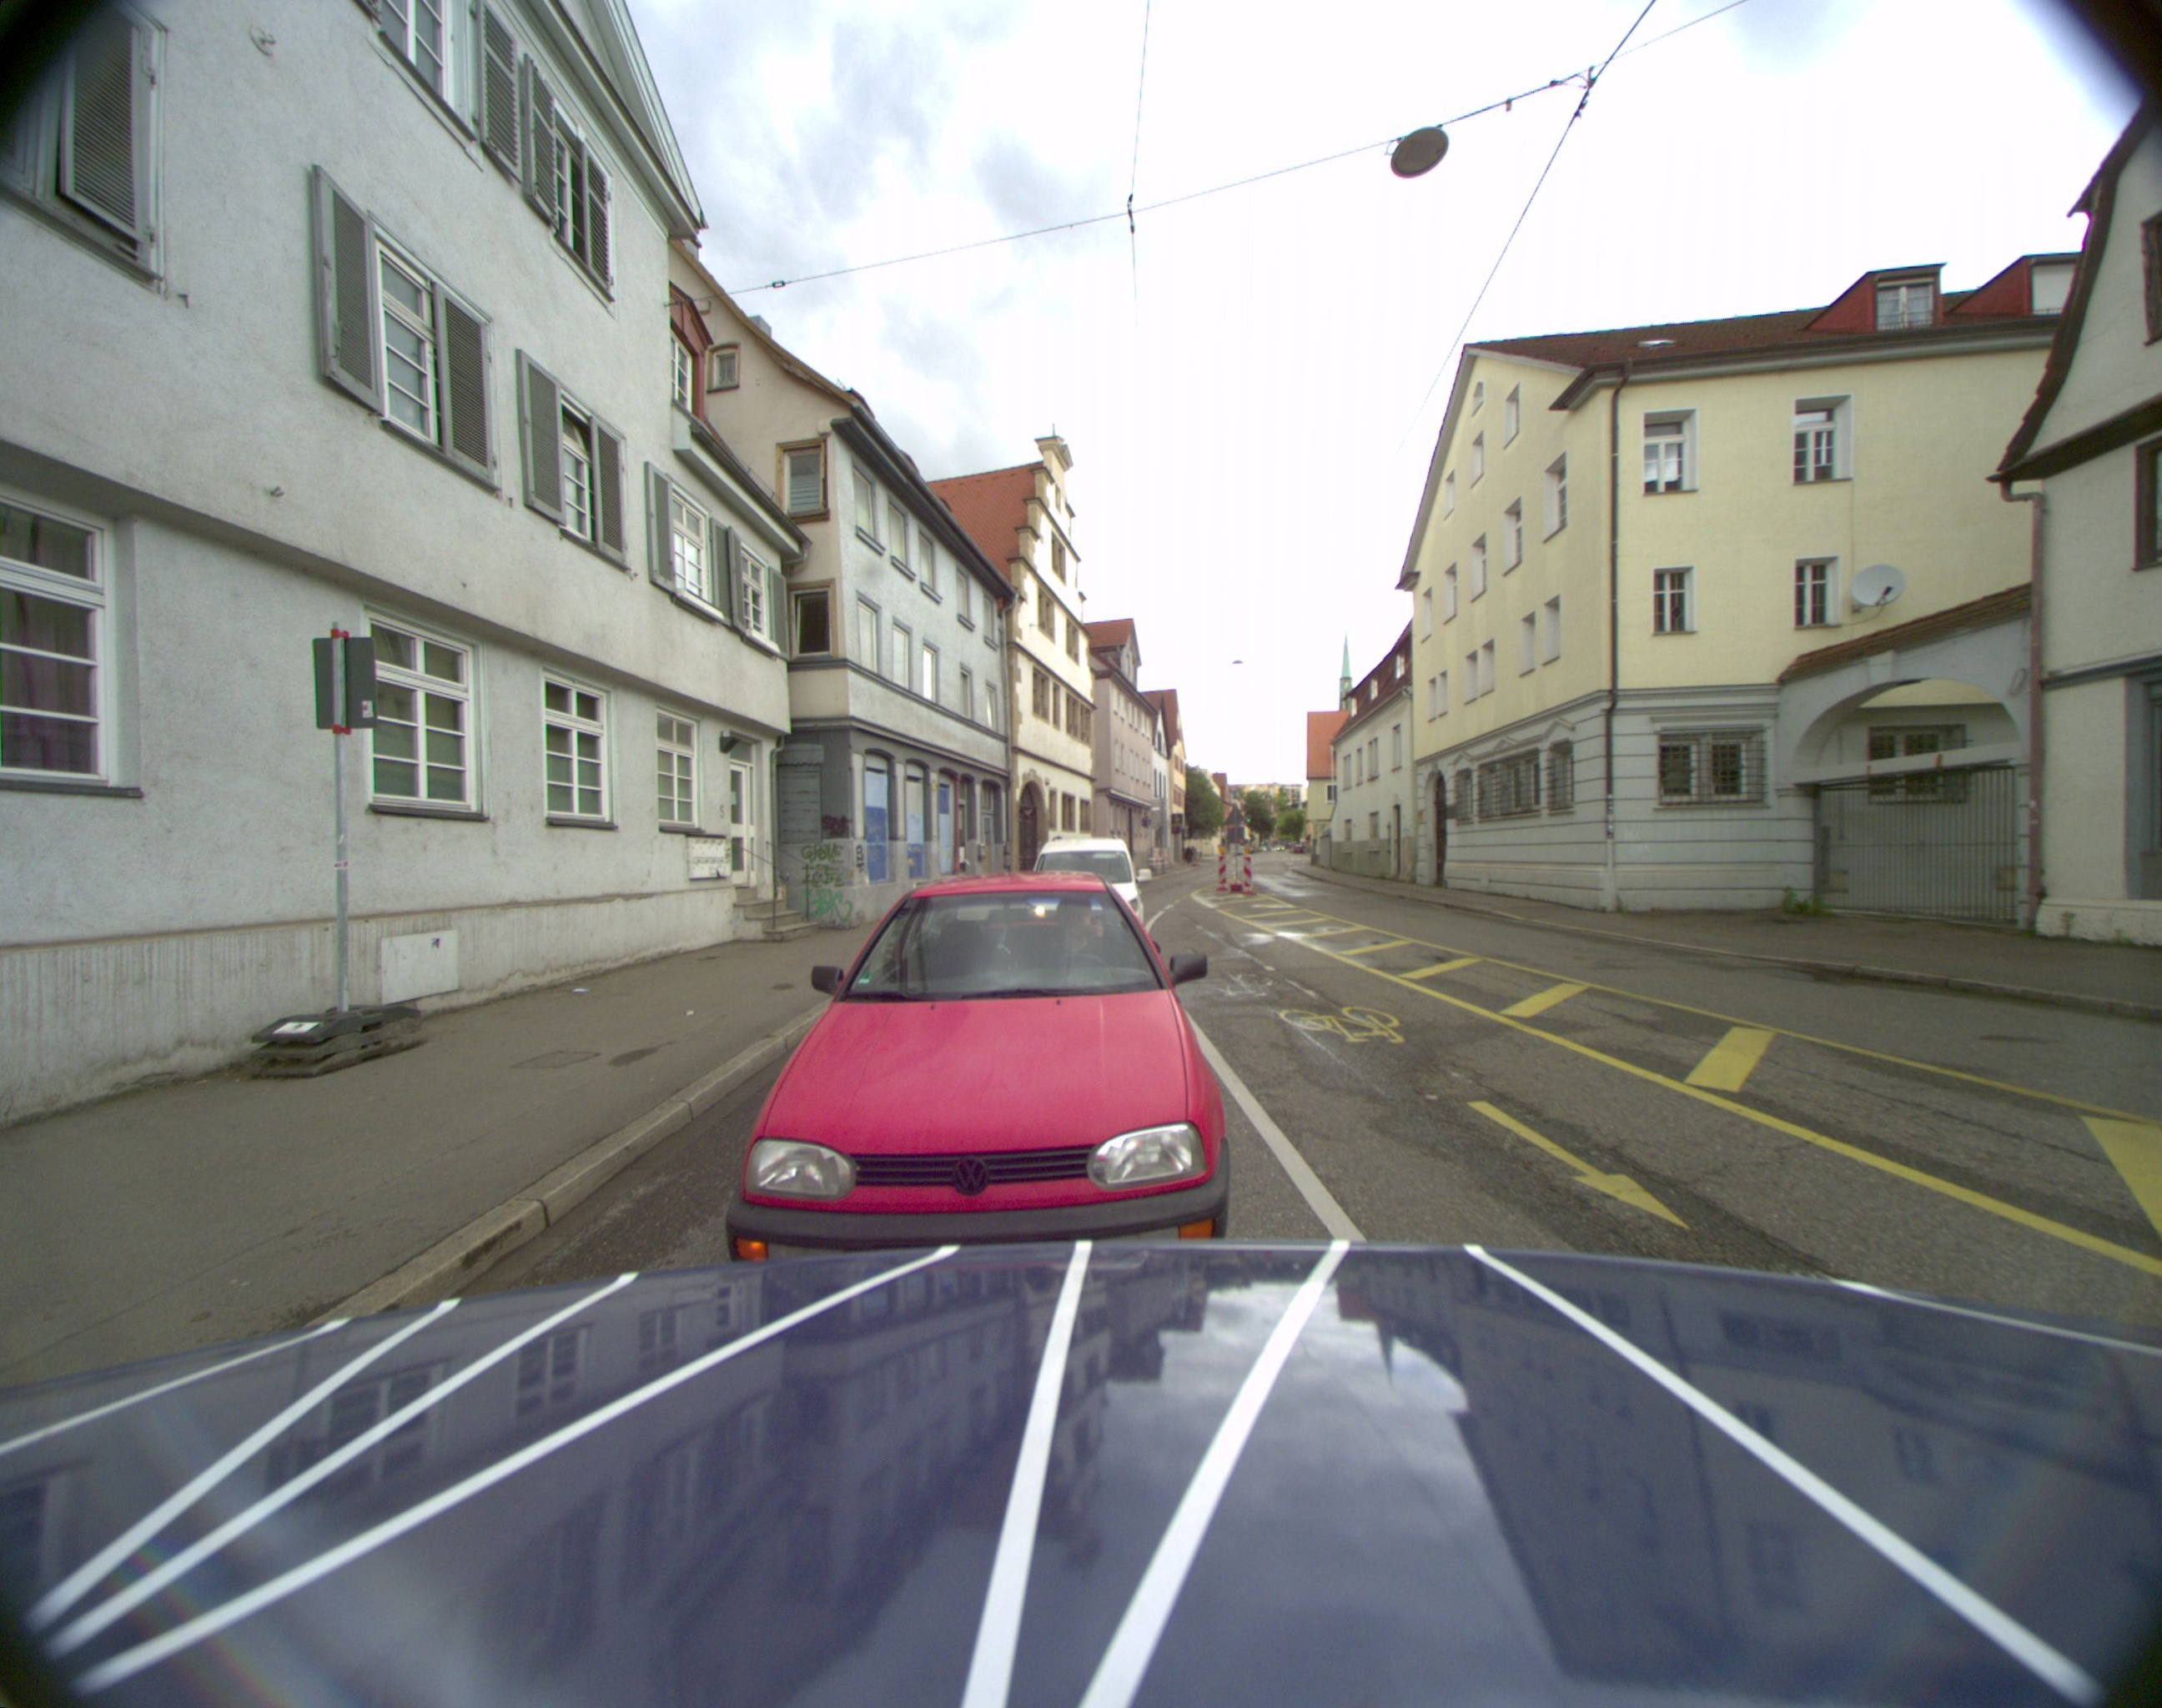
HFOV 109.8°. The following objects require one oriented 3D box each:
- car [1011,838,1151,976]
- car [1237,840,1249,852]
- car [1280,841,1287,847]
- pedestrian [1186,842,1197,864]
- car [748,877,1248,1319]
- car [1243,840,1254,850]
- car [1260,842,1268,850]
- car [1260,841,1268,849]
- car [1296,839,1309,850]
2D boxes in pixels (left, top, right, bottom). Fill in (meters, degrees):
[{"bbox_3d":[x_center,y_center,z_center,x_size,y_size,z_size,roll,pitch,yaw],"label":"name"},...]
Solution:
[{"bbox_3d":[0.027,0.700,12.082,1.804,1.781,4.349,-1,0,1],"label":"car"},{"bbox_3d":[28.449,-1.345,133.502,1.996,2.002,4.004,-1,0,13],"label":"car"},{"bbox_3d":[61.376,-3.021,230.622,1.996,2.002,4.004,-1,0,13],"label":"car"},{"bbox_3d":[9.749,-0.080,66.880,0.877,1.888,0.898,-1,0,14],"label":"pedestrian"},{"bbox_3d":[-0.286,0.987,4.872,1.804,1.458,4.000,-4,0,1],"label":"car"},{"bbox_3d":[33.992,-1.758,154.275,1.996,2.002,4.004,-1,0,13],"label":"car"},{"bbox_3d":[48.470,-2.110,201.287,1.996,2.002,4.004,-1,0,13],"label":"car"},{"bbox_3d":[44.949,-2.160,186.814,1.996,2.002,4.004,-1,0,13],"label":"car"},{"bbox_3d":[42.721,-1.779,146.583,2.057,2.002,4.004,-1,0,13],"label":"car"}]
